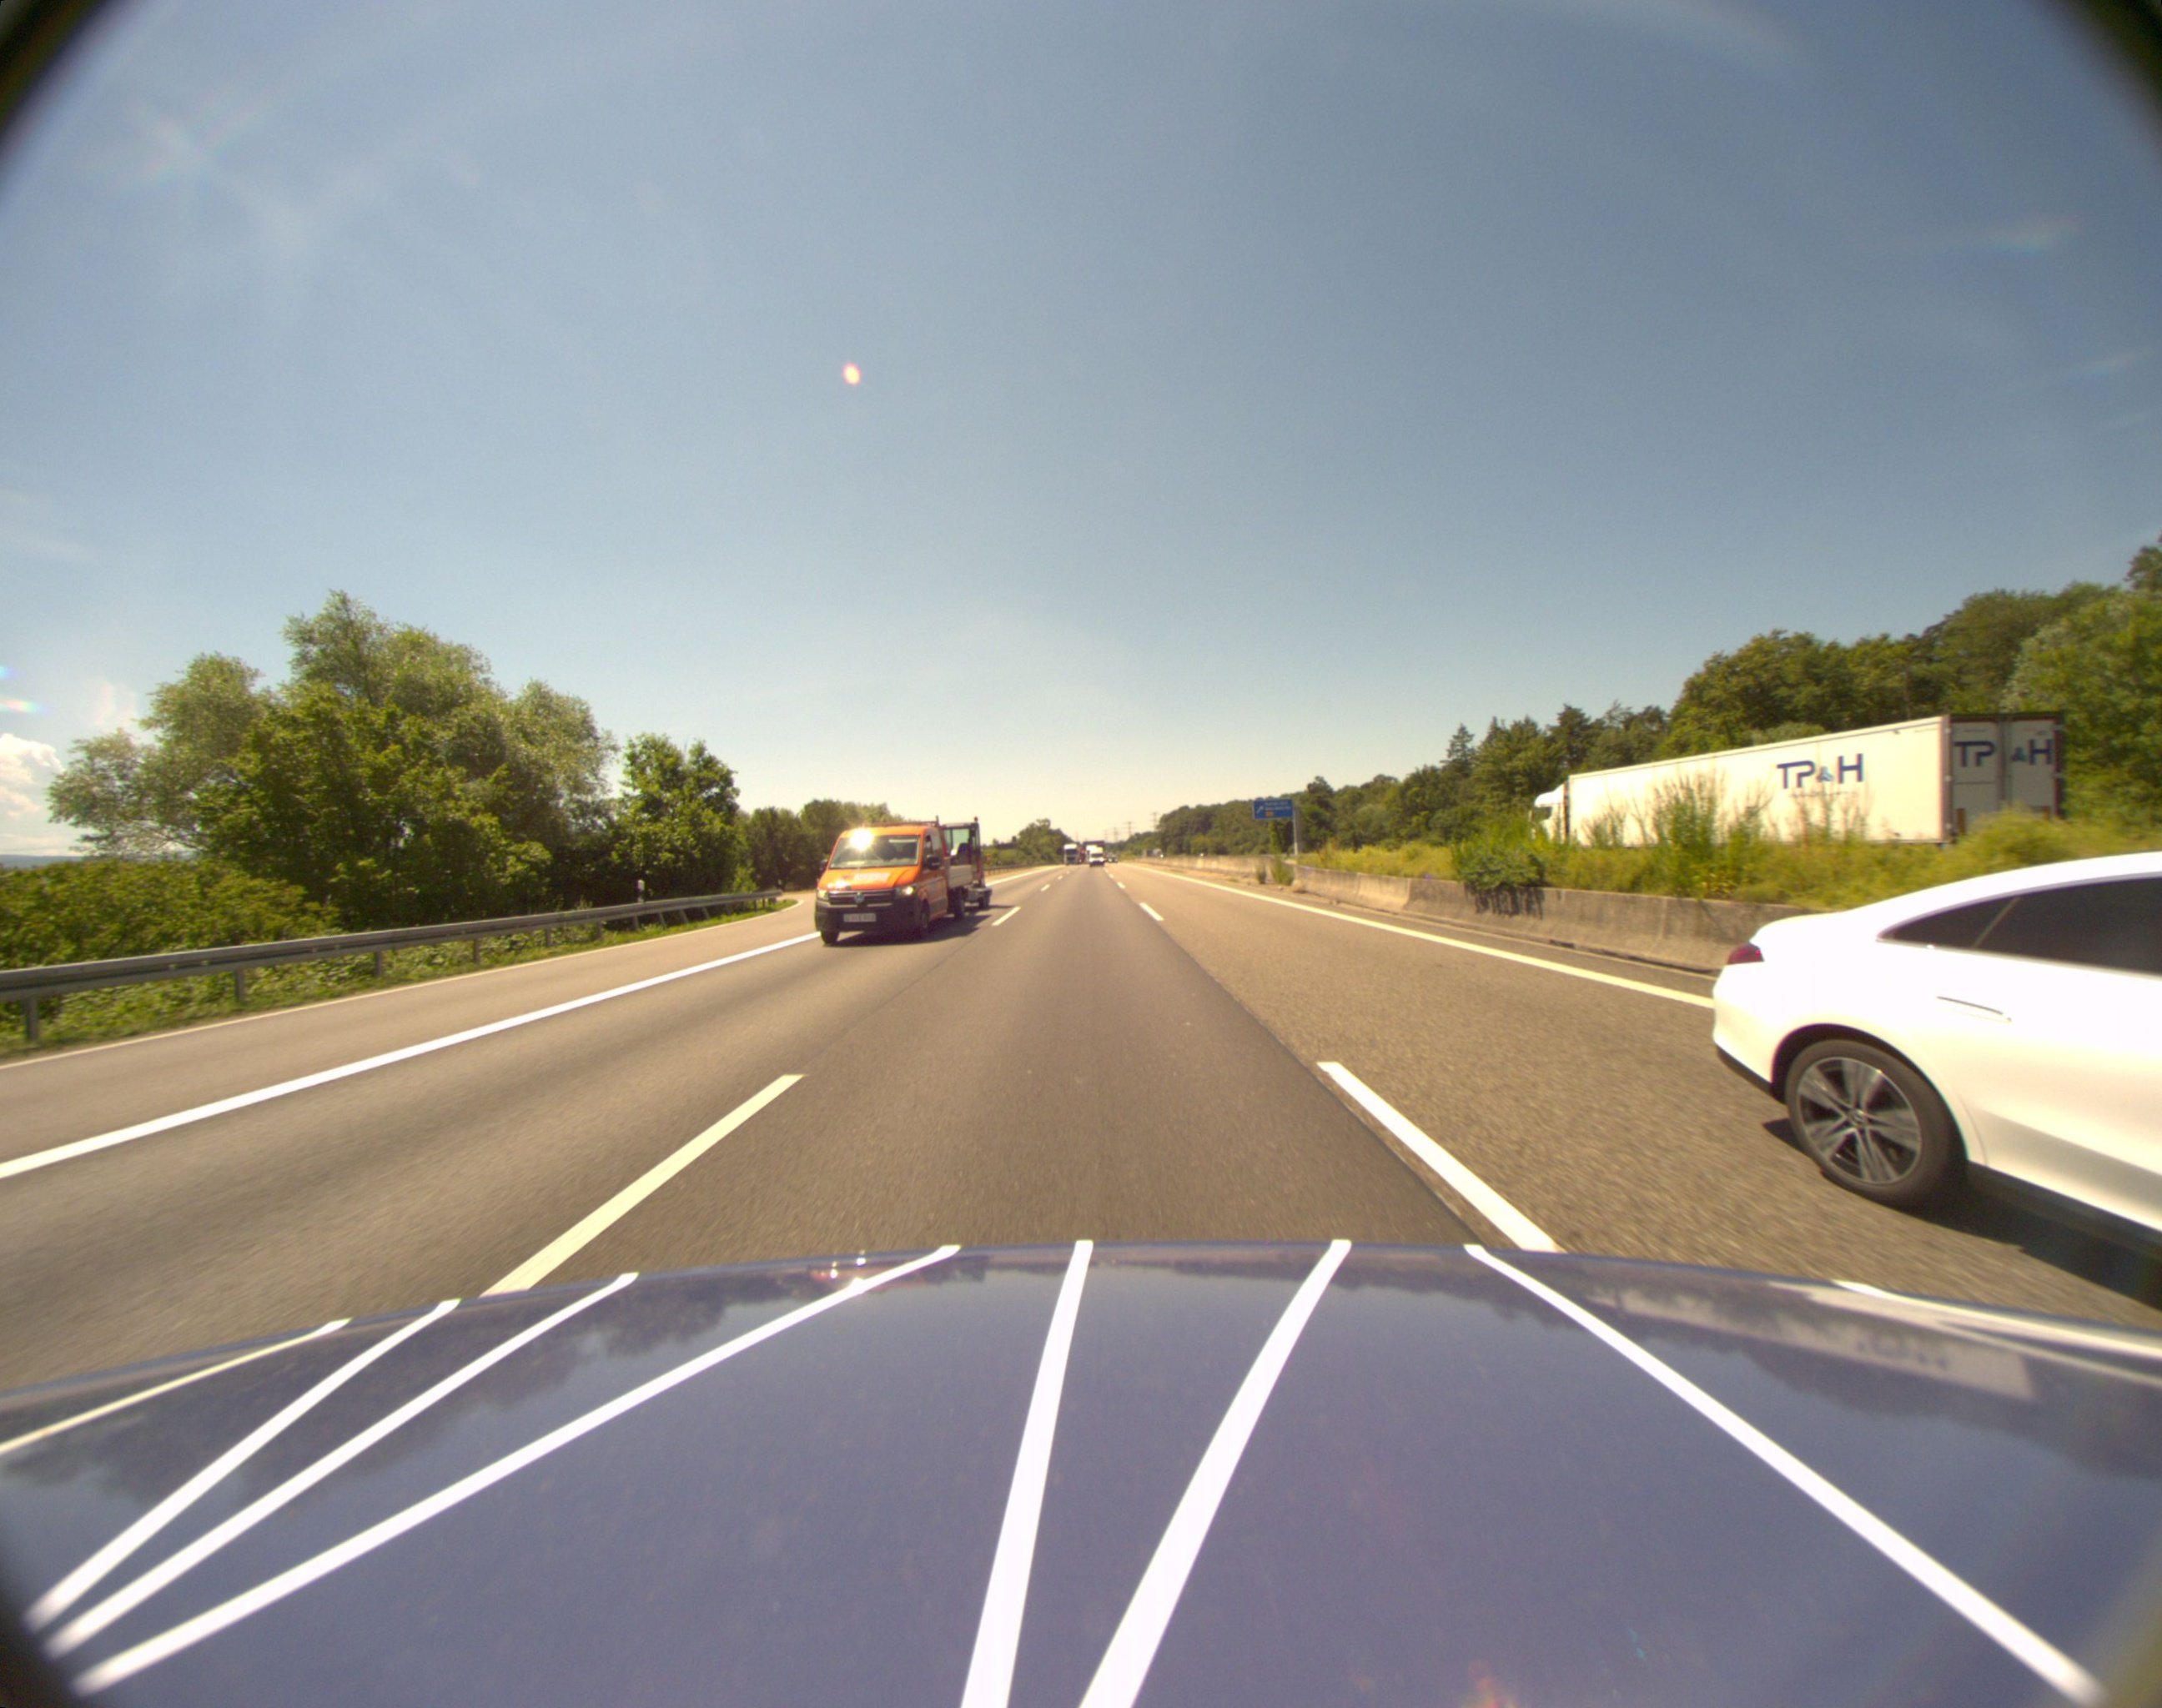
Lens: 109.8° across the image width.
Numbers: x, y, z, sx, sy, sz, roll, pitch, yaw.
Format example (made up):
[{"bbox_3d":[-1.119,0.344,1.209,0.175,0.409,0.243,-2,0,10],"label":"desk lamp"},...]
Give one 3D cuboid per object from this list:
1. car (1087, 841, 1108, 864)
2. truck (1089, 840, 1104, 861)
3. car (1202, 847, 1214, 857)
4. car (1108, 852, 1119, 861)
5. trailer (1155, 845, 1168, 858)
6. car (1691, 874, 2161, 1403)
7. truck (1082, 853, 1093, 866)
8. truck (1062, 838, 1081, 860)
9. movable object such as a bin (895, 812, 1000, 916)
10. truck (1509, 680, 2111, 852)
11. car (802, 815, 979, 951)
[{"bbox_3d":[2.349,-0.197,105.307,2.521,2.857,6.400,-6,0,2],"label":"car"},{"bbox_3d":[3.406,-0.758,166.047,2.700,4.231,8.244,-5,0,2],"label":"truck"},{"bbox_3d":[28.028,-0.471,167.879,1.998,2.002,4.429,-3,0,3],"label":"car"},{"bbox_3d":[6.893,0.554,161.396,1.998,2.001,4.000,-2,0,1],"label":"car"},{"bbox_3d":[26.784,-0.830,253.101,2.814,4.023,10.430,-6,0,0],"label":"trailer"},{"bbox_3d":[3.910,0.814,1.268,1.771,1.440,5.109,-1,0,1],"label":"car"},{"bbox_3d":[1.916,1.673,233.630,2.852,3.747,6.496,-6,0,1],"label":"truck"},{"bbox_3d":[-1.836,-0.982,150.951,2.990,4.187,7.594,-3,0,2],"label":"truck"},{"bbox_3d":[-3.986,0.270,23.566,2.179,2.799,4.761,-3,0,1],"label":"movable object such as a bin"},{"bbox_3d":[21.407,-2.021,25.912,3.607,3.713,17.483,-3,0,0],"label":"truck"},{"bbox_3d":[-3.967,0.530,17.495,1.998,2.391,7.226,-3,0,1],"label":"car"}]
